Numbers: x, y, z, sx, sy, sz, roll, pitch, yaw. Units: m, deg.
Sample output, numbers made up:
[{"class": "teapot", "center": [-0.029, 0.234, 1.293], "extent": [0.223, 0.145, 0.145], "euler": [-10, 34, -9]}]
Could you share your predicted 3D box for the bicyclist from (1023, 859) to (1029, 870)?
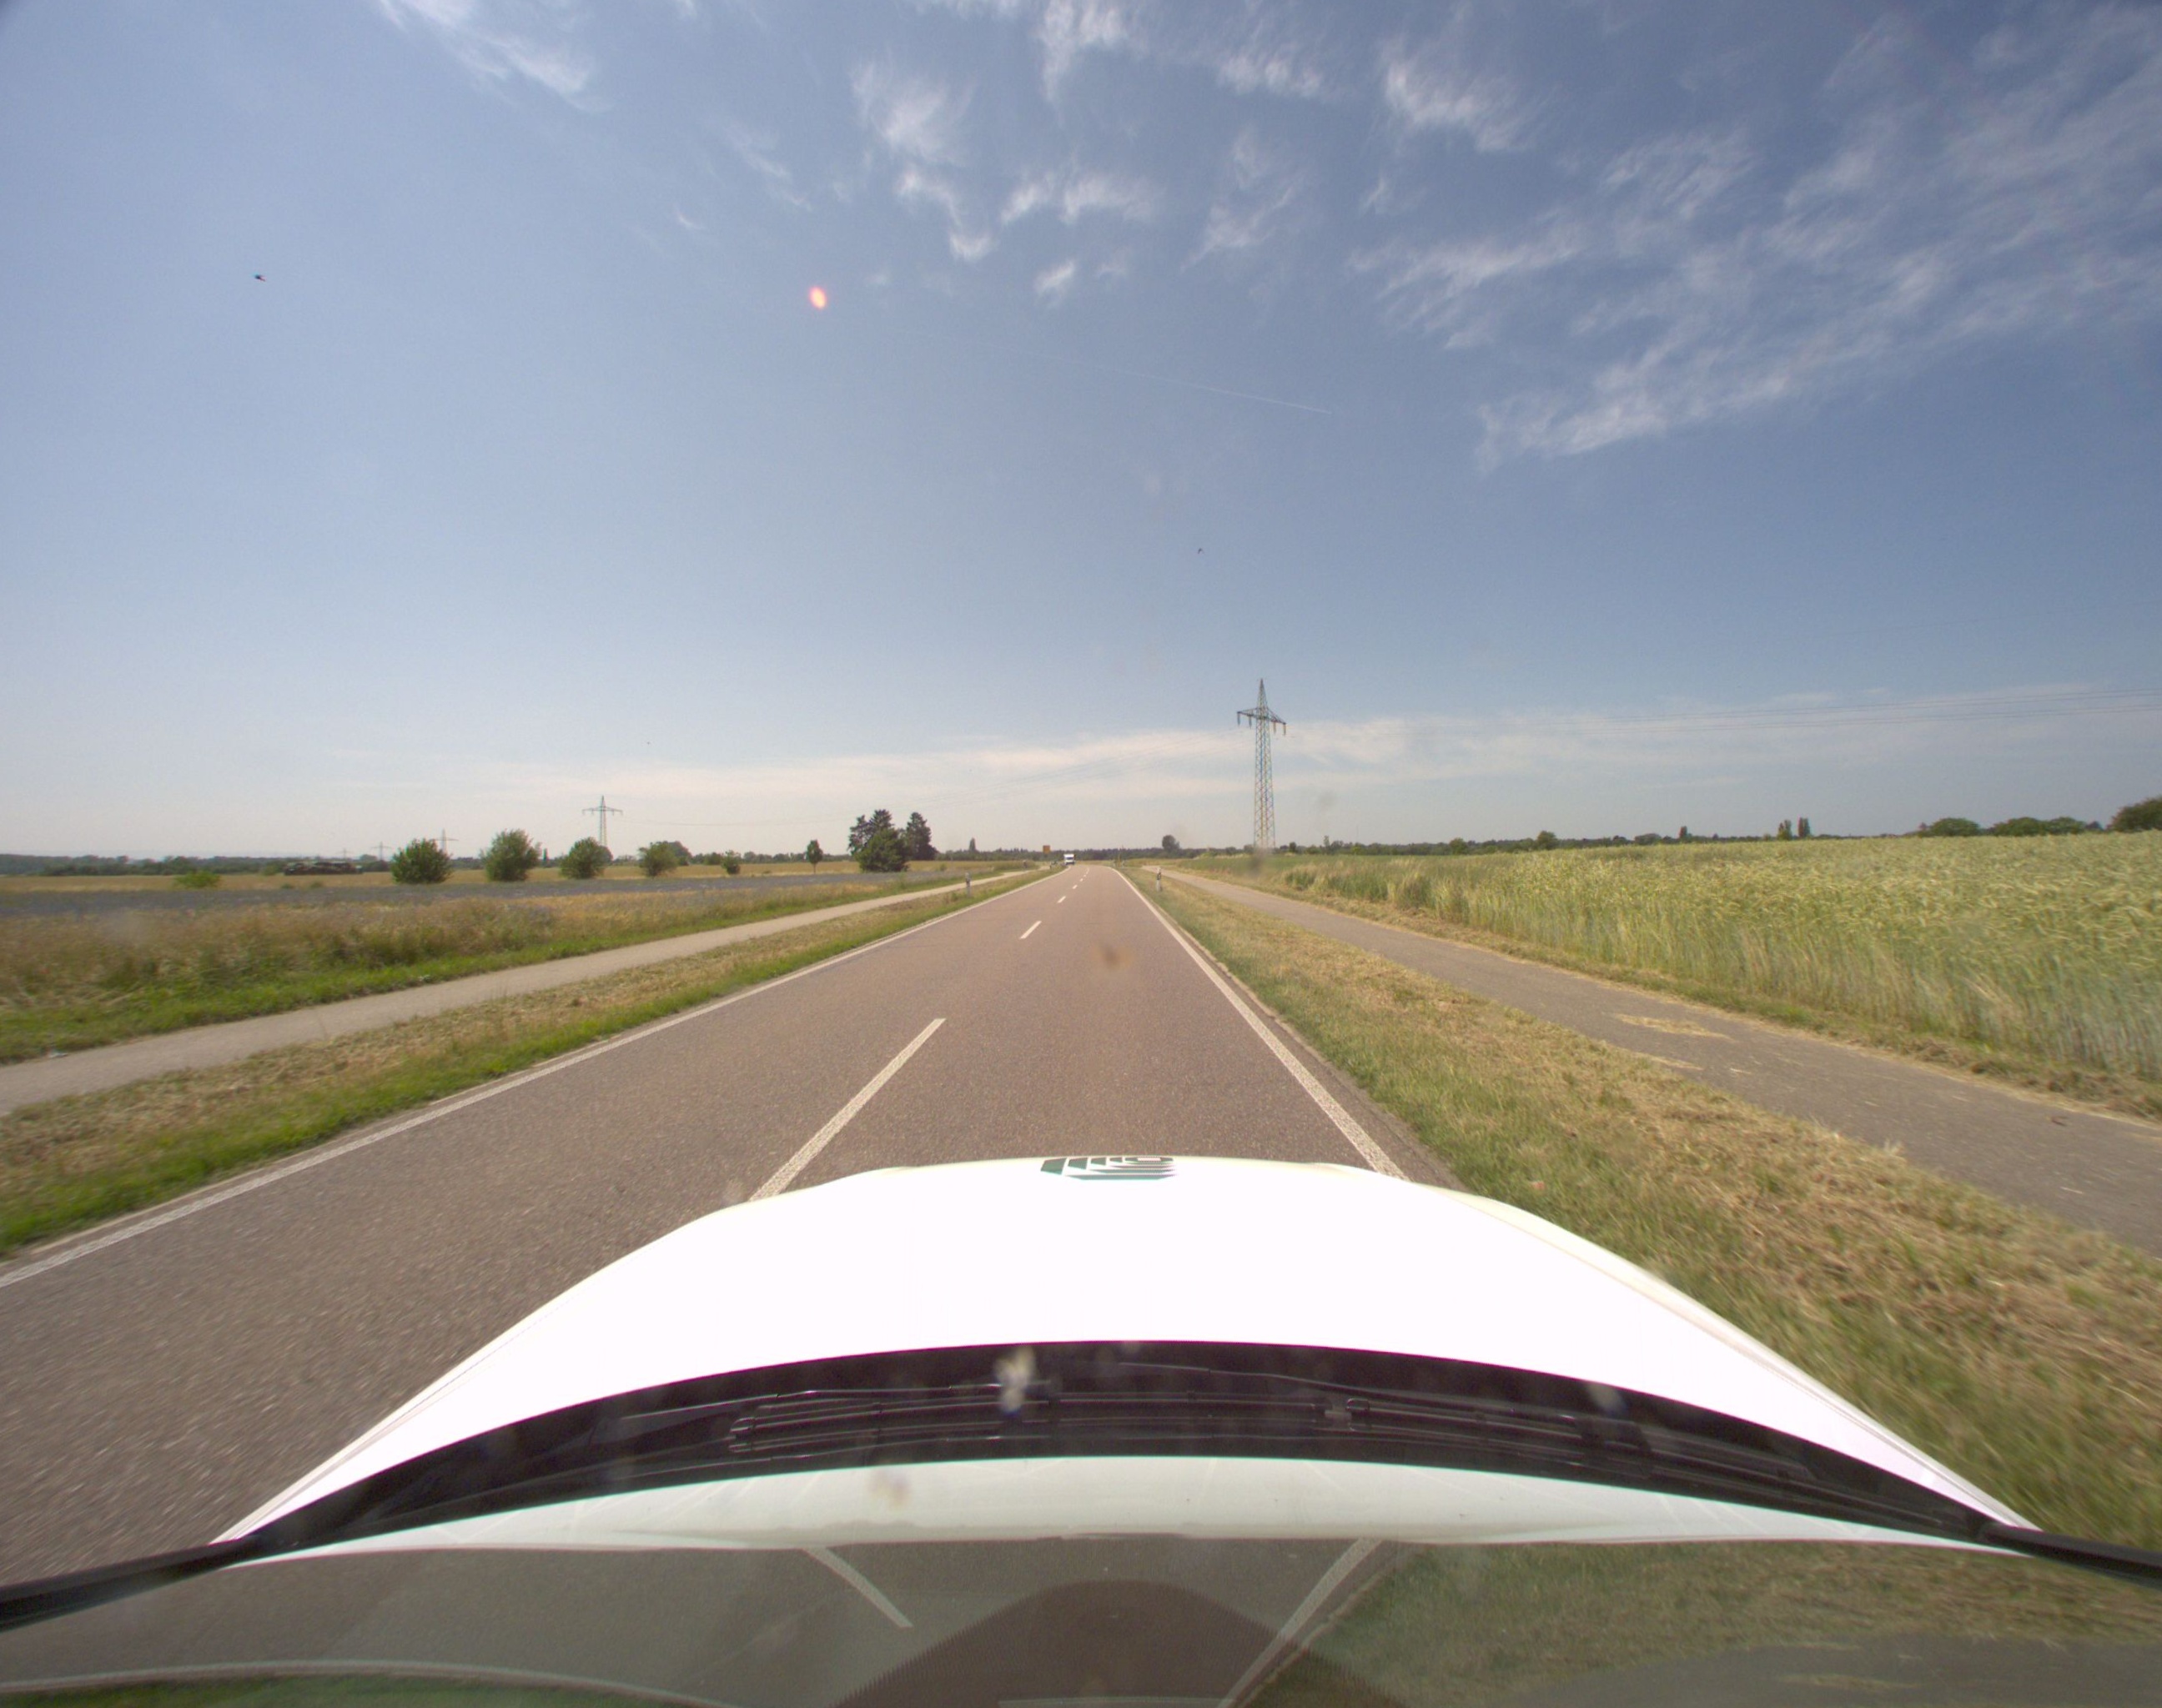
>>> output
[{"class": "bicyclist", "center": [-7.208, 1.378, 106.711], "extent": [0.699, 1.331, 0.965], "euler": [-2, -1, 1]}]

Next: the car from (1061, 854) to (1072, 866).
[{"class": "car", "center": [-3.650, 1.552, 205.936], "extent": [2.389, 2.846, 7.629], "euler": [-1, 0, 1]}]

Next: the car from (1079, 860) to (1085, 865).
[{"class": "car", "center": [0.252, 2.377, 229.482], "extent": [1.618, 1.491, 3.999], "euler": [-1, 0, -1]}]

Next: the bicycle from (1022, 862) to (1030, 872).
[{"class": "bicycle", "center": [-7.197, 1.699, 106.692], "extent": [0.760, 1.229, 2.216], "euler": [-2, 0, 1]}]
